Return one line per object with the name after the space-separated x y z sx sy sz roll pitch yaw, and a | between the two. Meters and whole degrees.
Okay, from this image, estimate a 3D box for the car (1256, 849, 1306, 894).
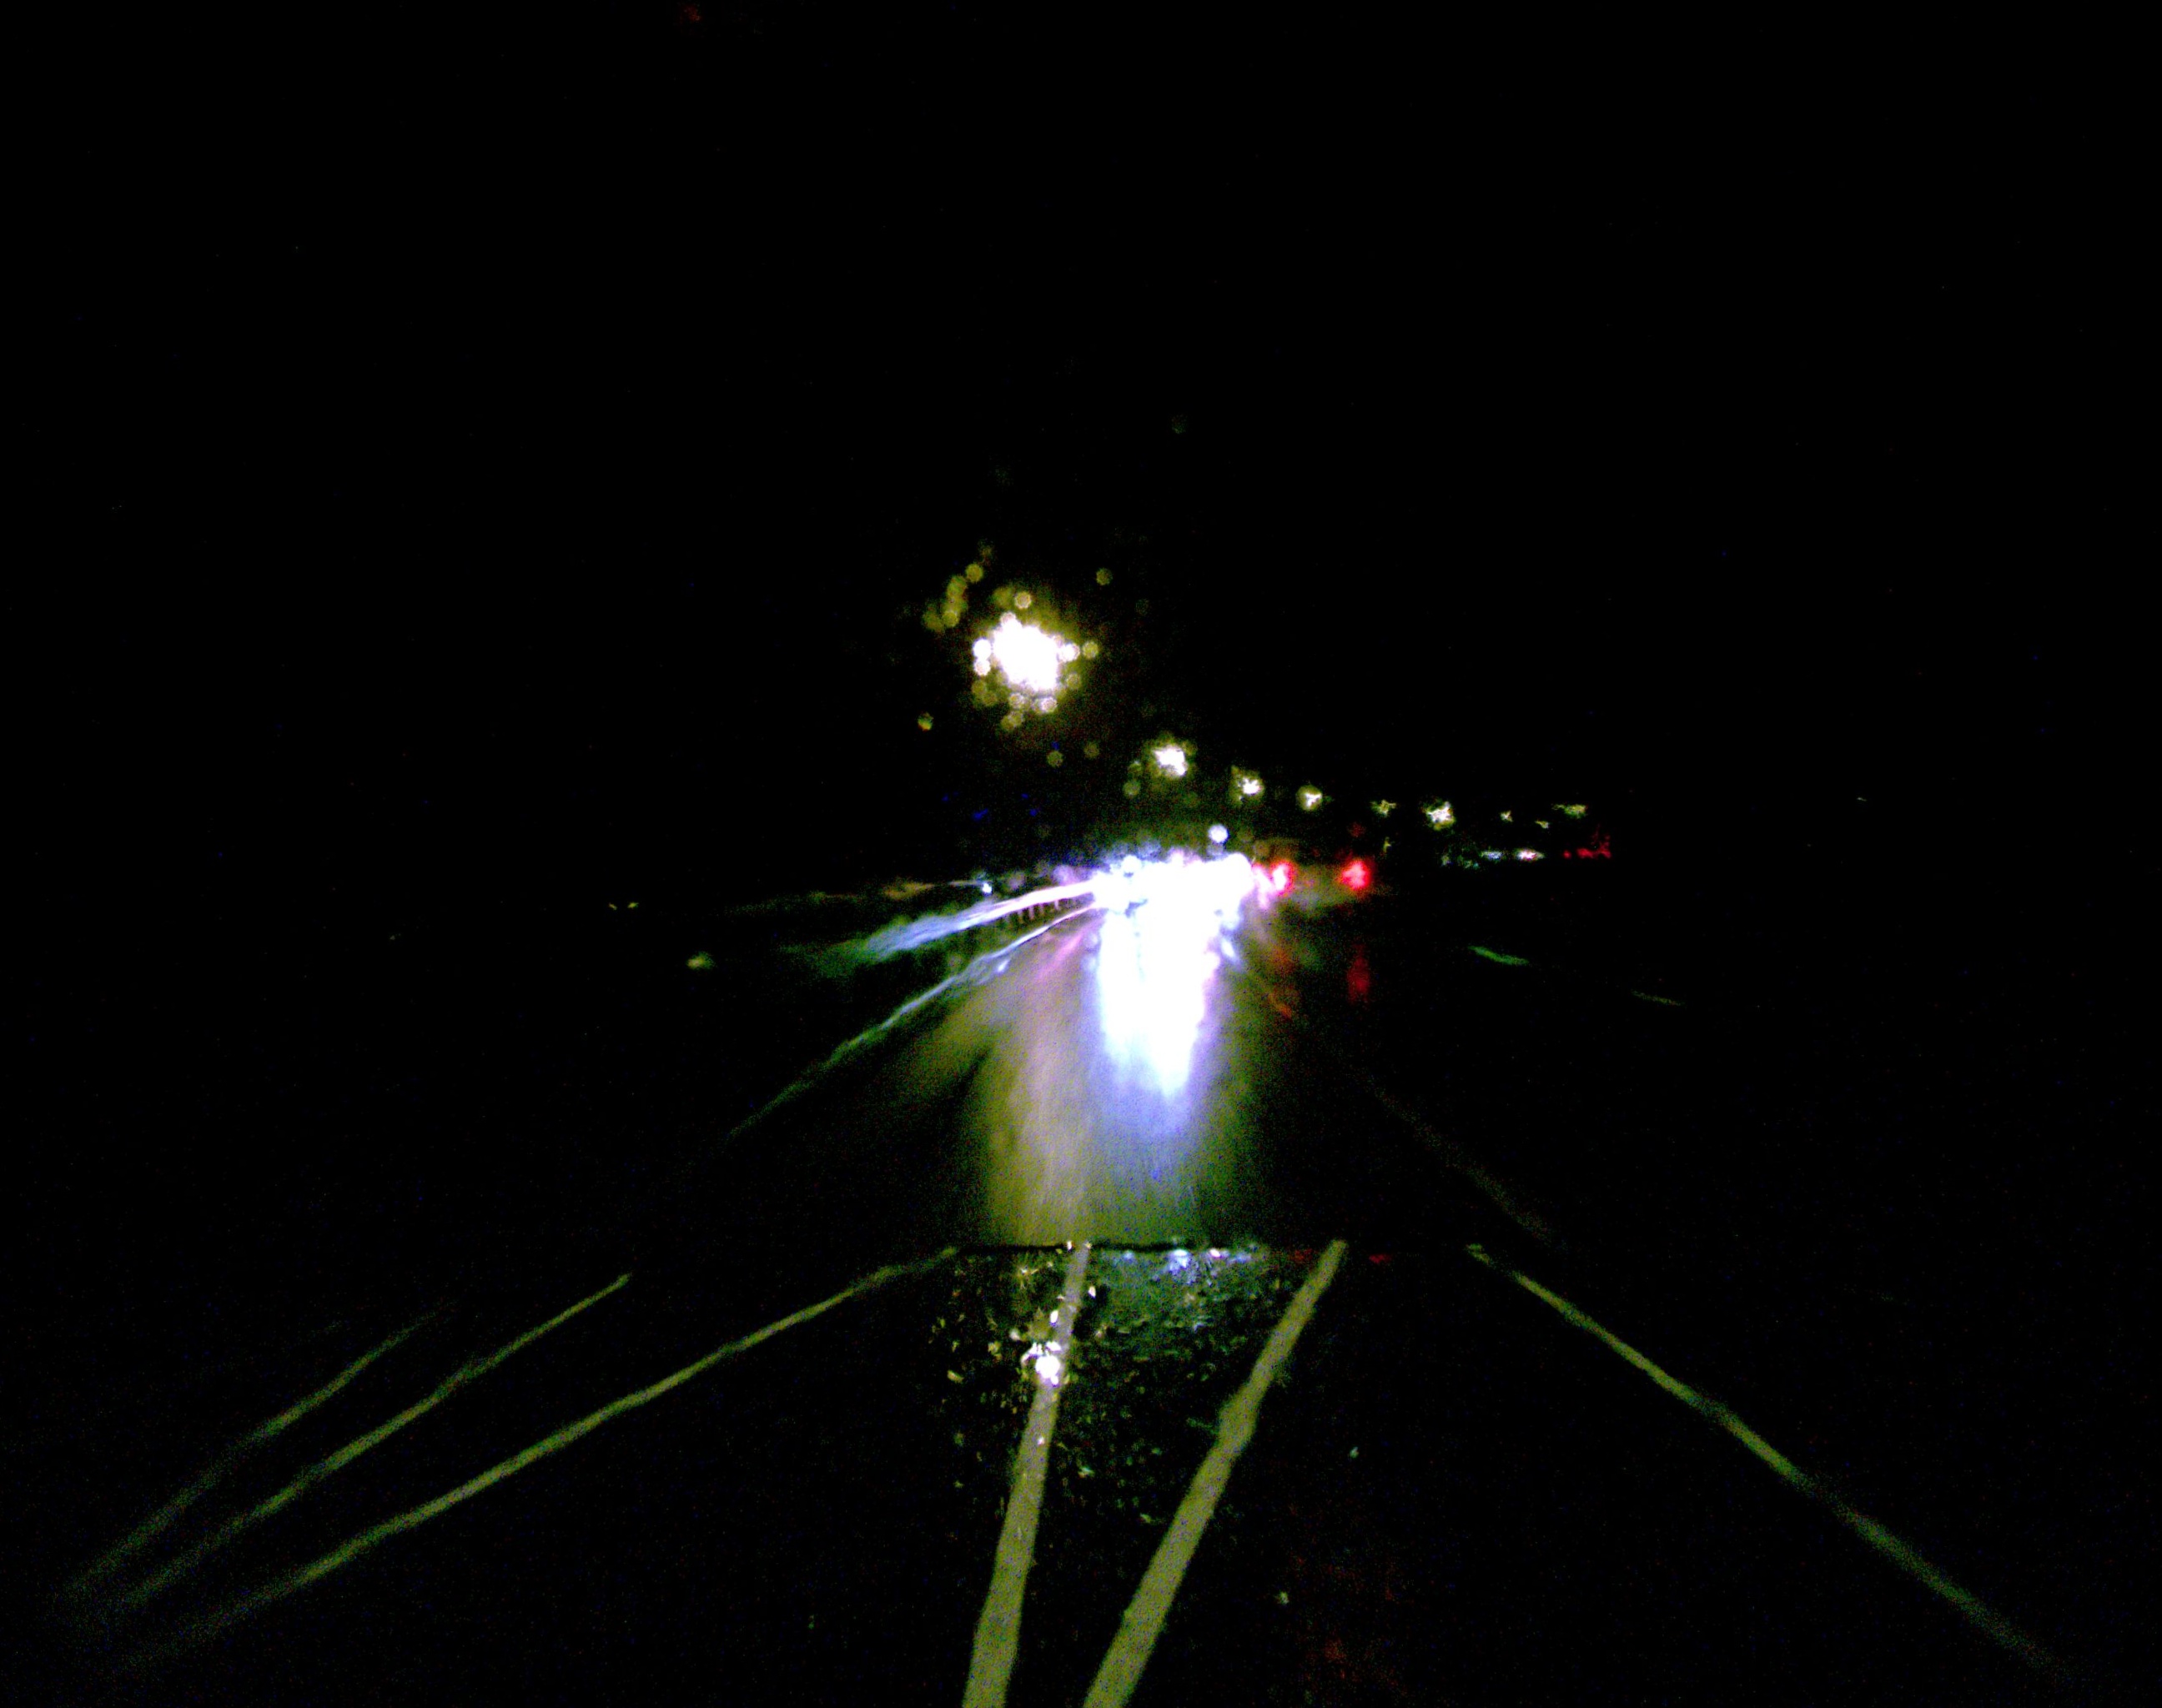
8.211 0.673 31.187 1.795 1.621 3.996 -2 1 15 | car

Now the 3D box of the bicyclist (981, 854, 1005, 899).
-2.698 0.679 23.288 0.453 1.341 0.765 -2 0 14 | bicyclist

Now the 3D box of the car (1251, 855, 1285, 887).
10.760 0.947 43.637 1.781 1.694 4.318 -1 0 14 | car

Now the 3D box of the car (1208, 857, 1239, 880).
9.658 0.990 51.385 1.520 1.516 3.112 -1 -1 21 | car

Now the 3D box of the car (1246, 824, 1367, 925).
5.454 0.434 19.097 2.048 2.157 5.157 -1 0 7 | car

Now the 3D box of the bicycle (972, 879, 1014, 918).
-2.675 1.340 23.281 0.485 1.028 2.174 -2 0 15 | bicycle

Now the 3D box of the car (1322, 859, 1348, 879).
29.748 1.743 88.920 1.653 1.999 4.010 -10 -8 33 | car

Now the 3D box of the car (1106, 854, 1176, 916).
1.943 0.930 23.618 1.926 1.704 4.242 1 -1 7 | car

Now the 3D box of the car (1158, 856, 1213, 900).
5.338 1.177 38.327 1.996 2.001 4.005 -3 -1 18 | car

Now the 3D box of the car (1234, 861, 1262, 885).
13.588 1.532 61.767 1.304 1.520 3.049 -12 -1 25 | car
